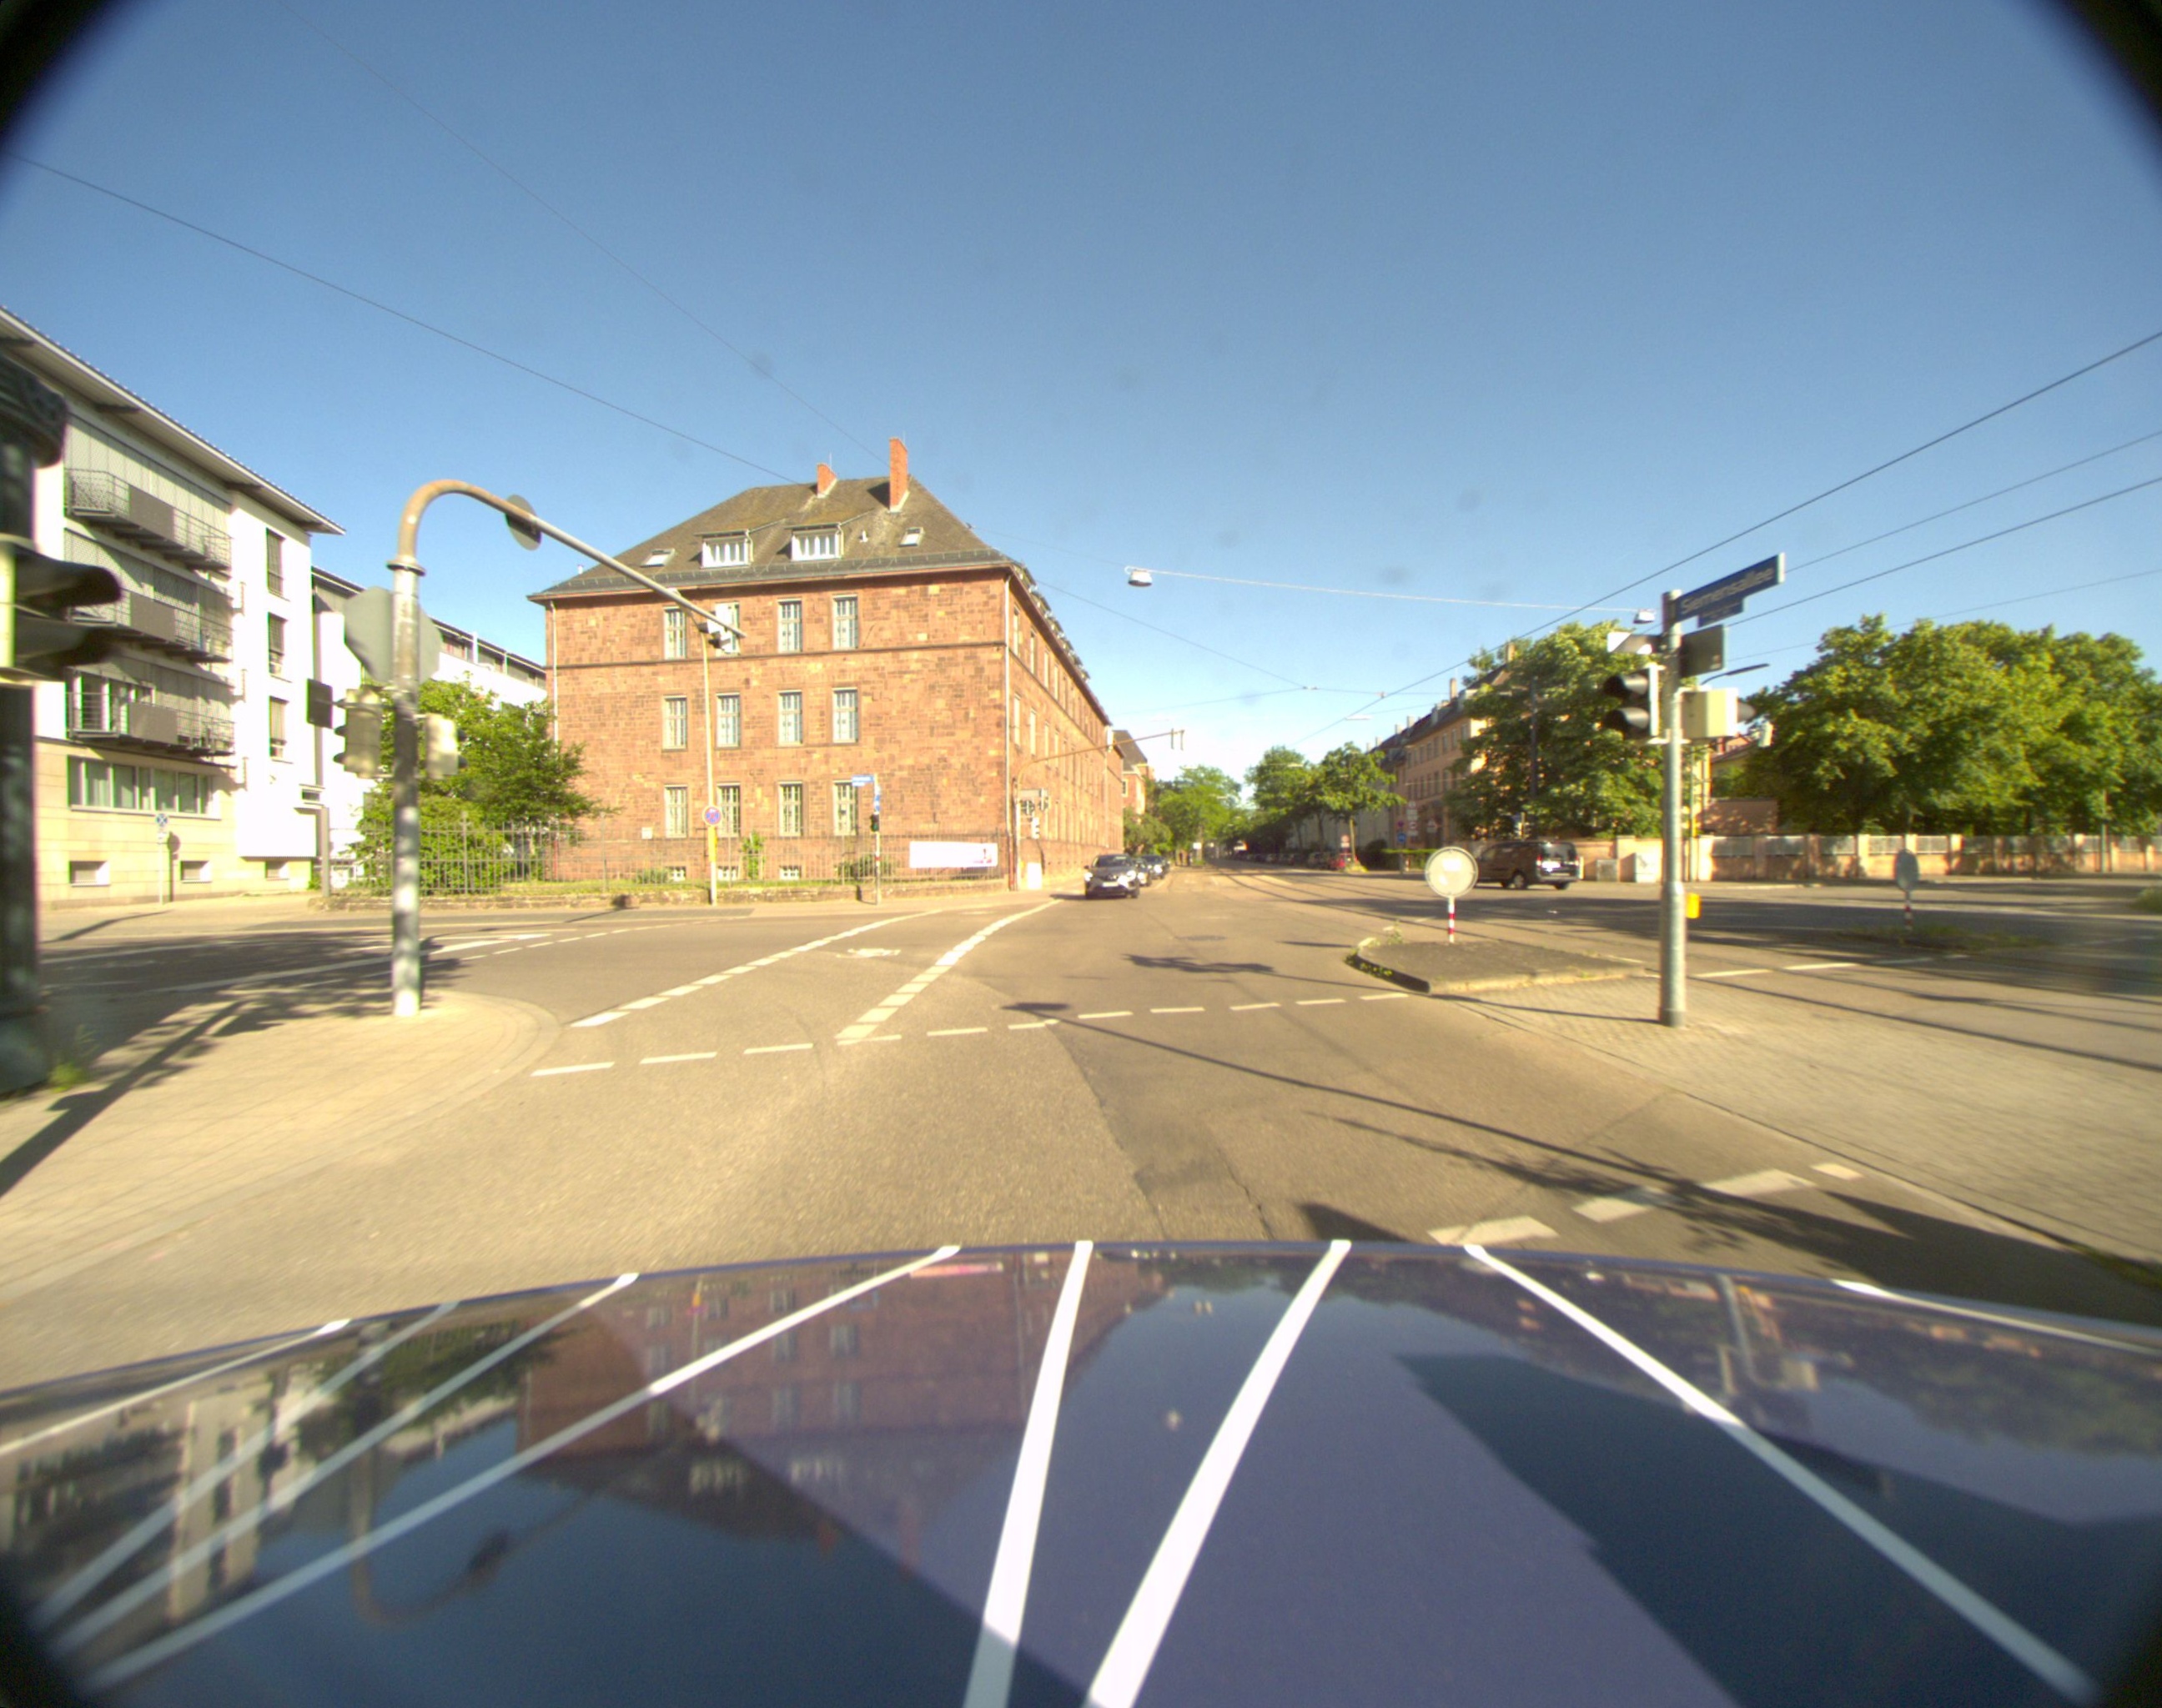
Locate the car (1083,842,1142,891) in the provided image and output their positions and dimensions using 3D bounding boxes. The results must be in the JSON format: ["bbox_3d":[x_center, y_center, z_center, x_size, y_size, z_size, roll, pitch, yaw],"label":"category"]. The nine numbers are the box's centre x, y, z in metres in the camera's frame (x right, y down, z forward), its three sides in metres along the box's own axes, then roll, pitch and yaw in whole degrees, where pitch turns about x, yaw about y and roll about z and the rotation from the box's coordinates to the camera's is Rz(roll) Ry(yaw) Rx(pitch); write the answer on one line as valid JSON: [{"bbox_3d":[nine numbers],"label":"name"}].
[{"bbox_3d":[1.193,0.394,27.108,1.794,1.595,3.801,-2,0,7],"label":"car"}]

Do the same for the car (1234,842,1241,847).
[{"bbox_3d":[47.130,-2.797,228.520,1.815,1.411,3.632,0,1,7],"label":"car"}]

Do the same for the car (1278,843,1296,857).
[{"bbox_3d":[28.726,-0.551,106.090,1.815,1.814,3.797,0,1,7],"label":"car"}]

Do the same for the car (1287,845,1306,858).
[{"bbox_3d":[26.679,-0.335,94.174,1.815,1.589,3.632,0,1,7],"label":"car"}]

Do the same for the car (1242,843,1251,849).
[{"bbox_3d":[40.264,-1.879,184.659,1.815,1.514,3.632,0,1,7],"label":"car"}]

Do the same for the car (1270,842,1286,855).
[{"bbox_3d":[29.789,-0.860,115.103,1.815,1.929,3.632,0,1,7],"label":"car"}]

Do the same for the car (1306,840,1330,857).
[{"bbox_3d":[24.398,-0.573,78.266,1.814,1.649,3.879,0,1,9],"label":"car"}]

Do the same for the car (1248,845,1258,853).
[{"bbox_3d":[39.181,-1.200,173.061,1.815,1.768,3.632,0,1,7],"label":"car"}]

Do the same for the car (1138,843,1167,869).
[{"bbox_3d":[4.895,0.112,51.768,1.794,1.638,4.085,-2,0,7],"label":"car"}]

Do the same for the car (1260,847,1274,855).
[{"bbox_3d":[32.580,-0.482,133.202,1.815,1.411,3.632,0,1,7],"label":"car"}]

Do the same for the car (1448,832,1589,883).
[{"bbox_3d":[16.533,0.040,29.089,2.000,1.757,5.026,-1,2,-8],"label":"car"}]

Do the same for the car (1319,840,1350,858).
[{"bbox_3d":[23.097,-0.464,69.387,1.815,1.649,3.821,0,1,5],"label":"car"}]

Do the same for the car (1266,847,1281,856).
[{"bbox_3d":[31.465,-0.417,124.338,1.815,1.411,3.632,0,1,7],"label":"car"}]

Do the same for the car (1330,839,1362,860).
[{"bbox_3d":[22.562,-0.390,64.892,1.815,1.696,3.376,0,1,5],"label":"car"}]

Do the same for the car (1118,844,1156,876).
[{"bbox_3d":[3.026,0.283,40.341,1.794,1.595,3.801,-2,0,7],"label":"car"}]
